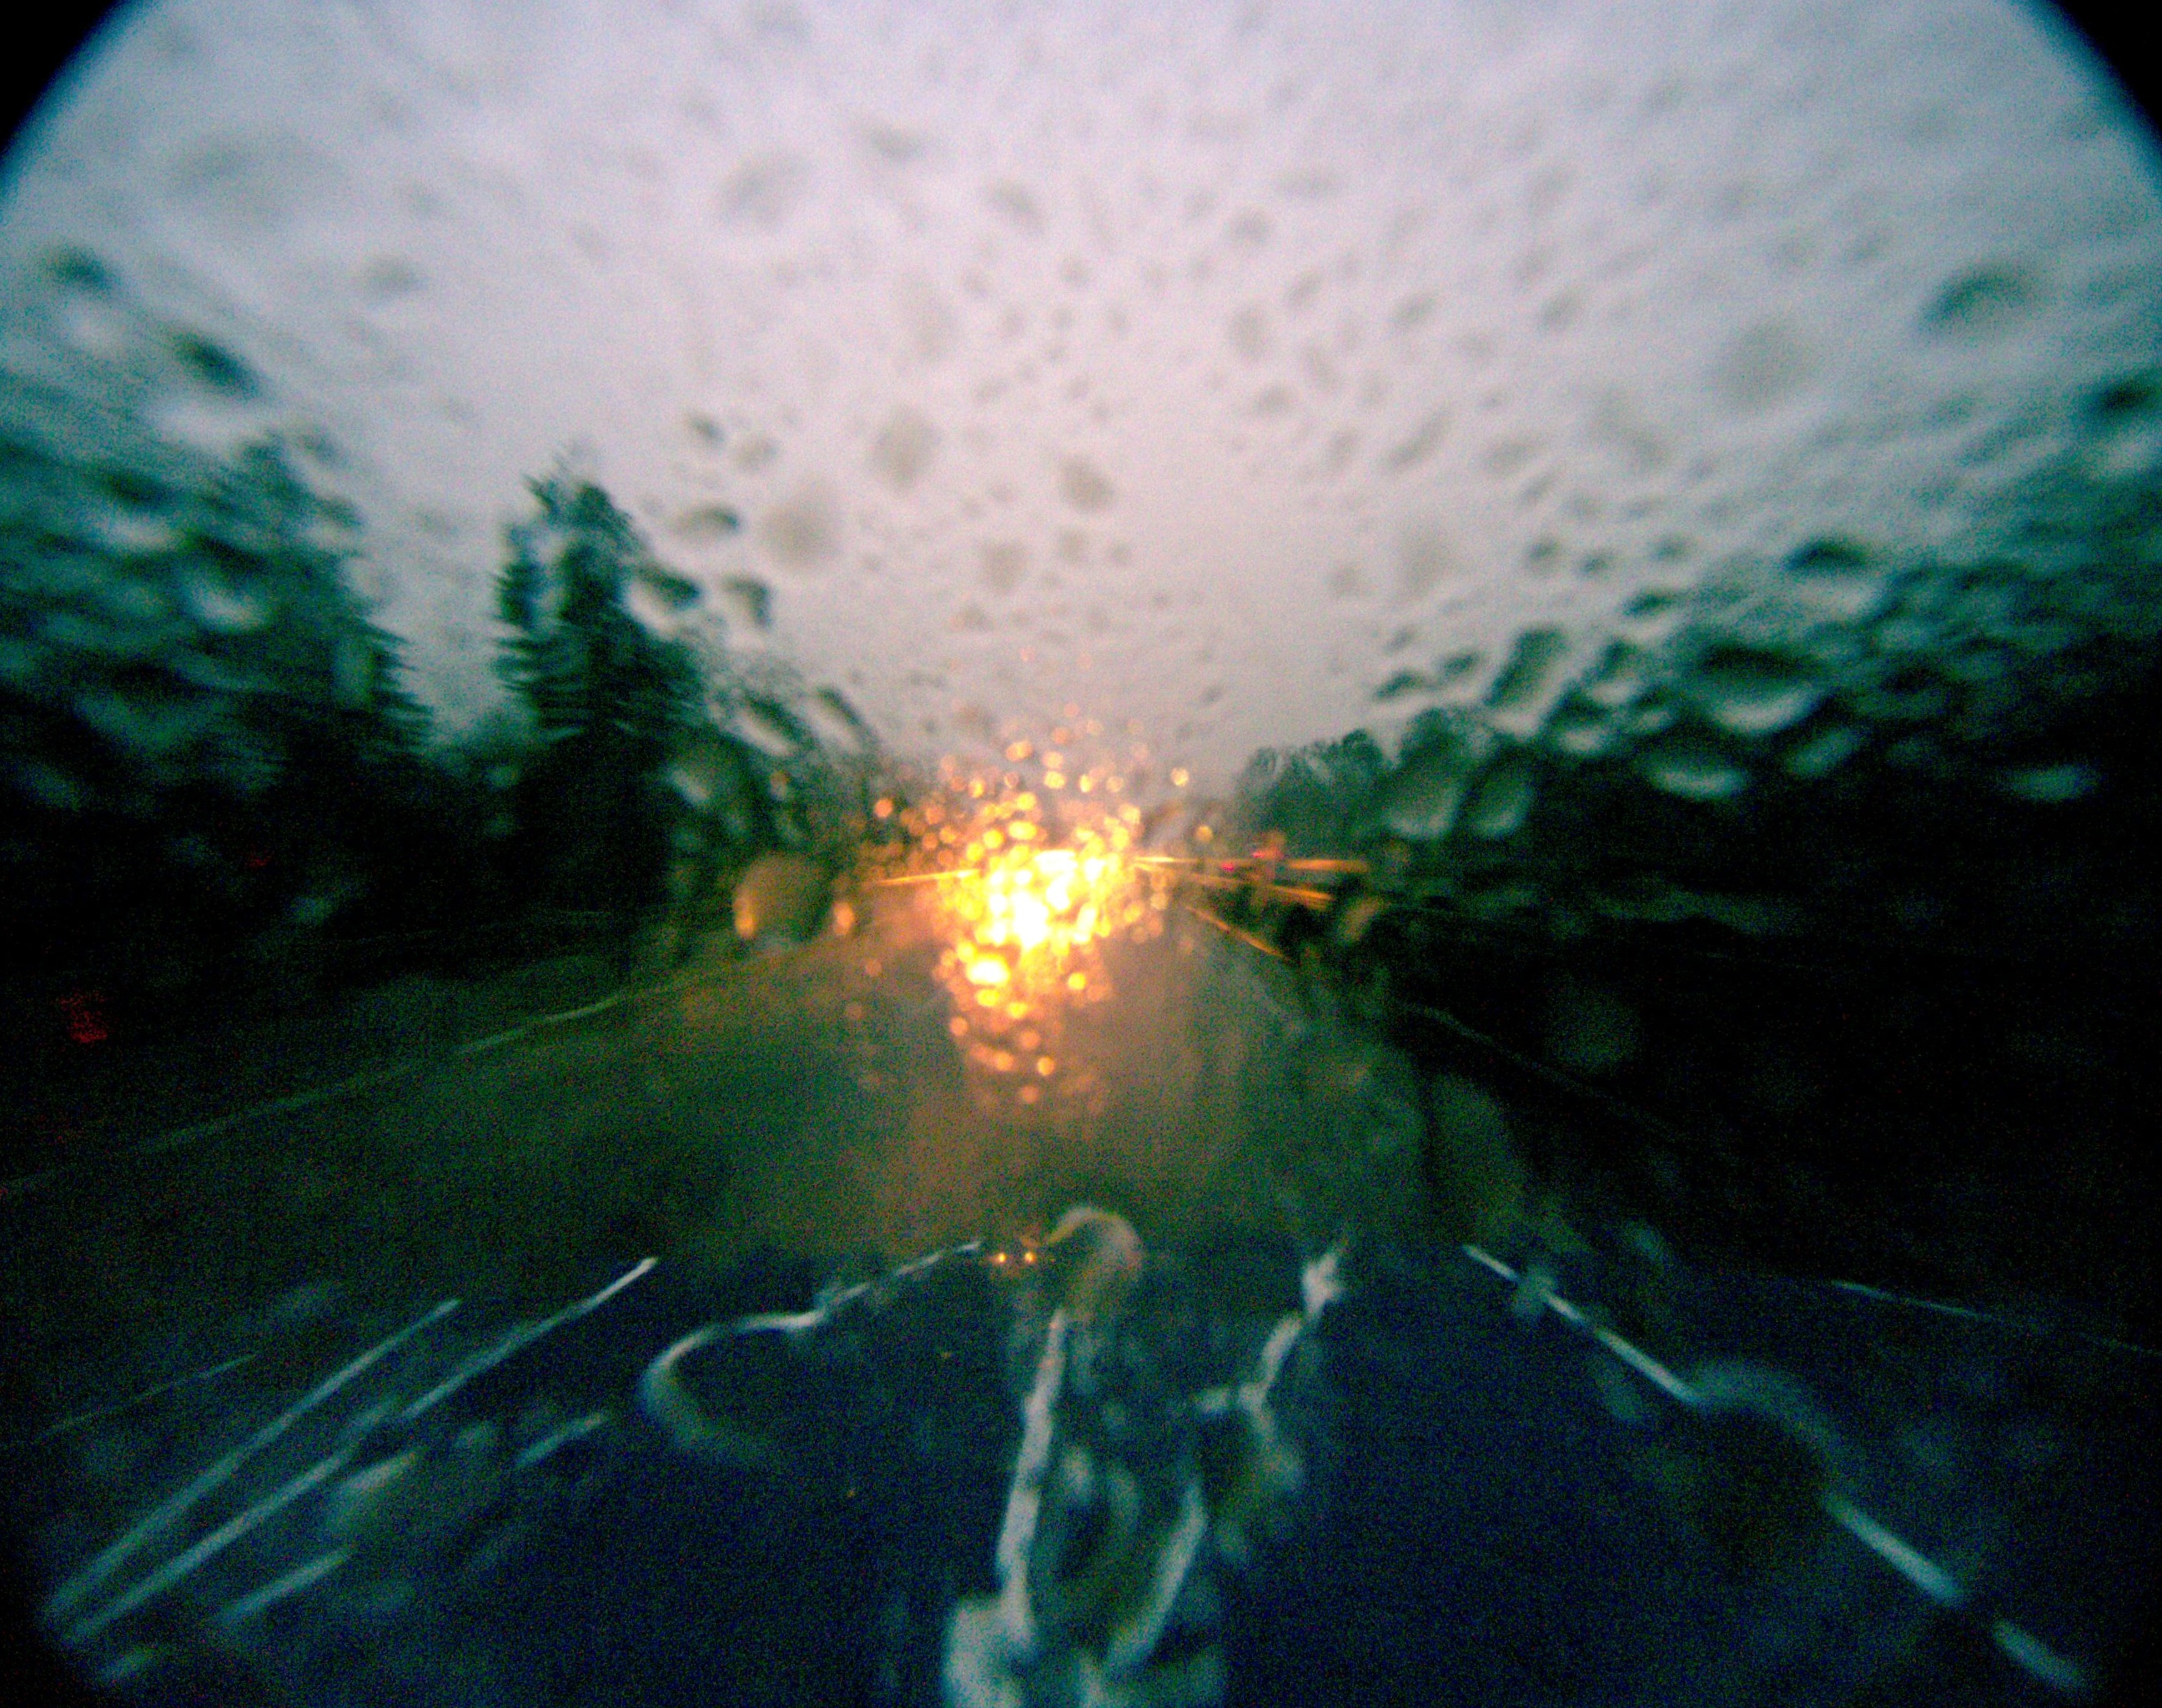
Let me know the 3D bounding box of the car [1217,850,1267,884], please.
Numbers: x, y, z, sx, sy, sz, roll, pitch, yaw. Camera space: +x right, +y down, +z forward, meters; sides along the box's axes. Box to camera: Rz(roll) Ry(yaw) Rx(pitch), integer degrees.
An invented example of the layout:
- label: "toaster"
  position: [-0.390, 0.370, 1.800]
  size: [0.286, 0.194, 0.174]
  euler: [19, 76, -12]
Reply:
- label: "car"
  position: [7.455, 0.570, 35.470]
  size: [1.635, 1.459, 3.523]
  euler: [-2, 1, 1]

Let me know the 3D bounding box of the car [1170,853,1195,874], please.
- label: "car"
  position: [10.080, 0.939, 75.770]
  size: [1.747, 1.945, 4.817]
  euler: [-2, 1, 0]

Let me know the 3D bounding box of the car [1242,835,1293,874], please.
- label: "car"
  position: [11.983, -0.022, 49.298]
  size: [2.036, 2.303, 5.460]
  euler: [-2, 1, 1]

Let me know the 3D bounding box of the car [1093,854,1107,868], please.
- label: "car"
  position: [2.685, 0.988, 108.782]
  size: [1.767, 1.922, 3.998]
  euler: [-2, 1, -2]

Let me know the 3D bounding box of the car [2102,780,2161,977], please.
- label: "car"
  position: [10.866, 0.215, 5.470]
  size: [1.761, 1.824, 3.911]
  euler: [-2, 1, -1]

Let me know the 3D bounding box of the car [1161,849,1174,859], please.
- label: "car"
  position: [15.051, -0.028, 132.147]
  size: [1.724, 1.737, 4.425]
  euler: [-2, 1, 1]

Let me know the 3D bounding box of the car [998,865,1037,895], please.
- label: "car"
  position: [-3.177, 1.286, 38.500]
  size: [1.603, 1.358, 3.305]
  euler: [-2, 0, 1]

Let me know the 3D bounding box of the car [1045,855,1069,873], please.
- label: "car"
  position: [-2.071, 0.853, 67.358]
  size: [1.741, 1.441, 4.000]
  euler: [-2, 1, 3]
